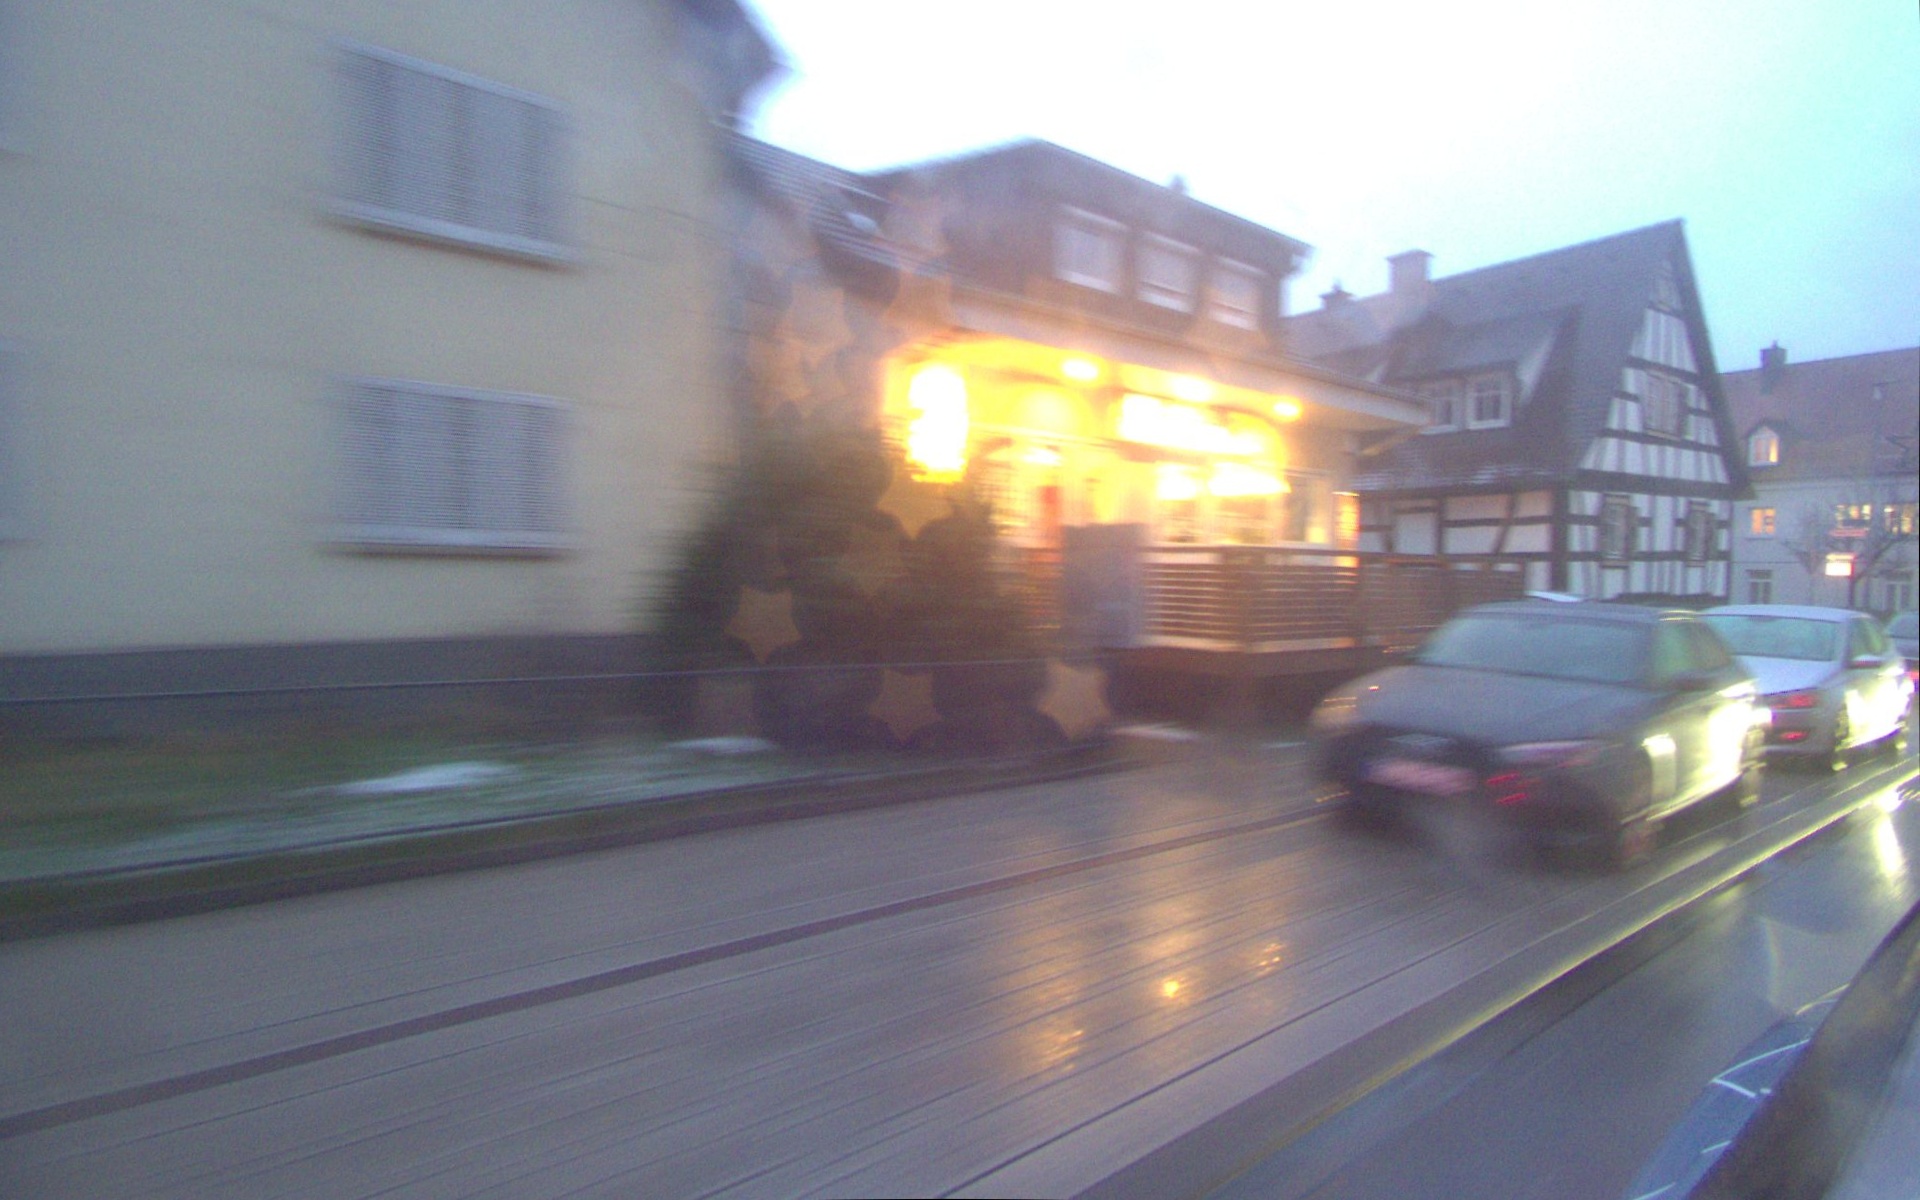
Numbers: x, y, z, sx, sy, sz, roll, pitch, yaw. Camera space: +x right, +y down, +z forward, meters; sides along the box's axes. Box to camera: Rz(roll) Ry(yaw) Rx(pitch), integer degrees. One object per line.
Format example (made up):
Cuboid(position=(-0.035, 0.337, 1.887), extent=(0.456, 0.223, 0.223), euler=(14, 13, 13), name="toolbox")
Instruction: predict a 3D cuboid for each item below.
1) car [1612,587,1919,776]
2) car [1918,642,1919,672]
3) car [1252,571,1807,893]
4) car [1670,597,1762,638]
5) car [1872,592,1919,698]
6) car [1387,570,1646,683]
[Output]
Cuboid(position=(8.164, 0.661, 10.046), extent=(3.729, 1.459, 1.632), euler=(0, 3, -38), name="car")
Cuboid(position=(20.888, 0.725, 20.414), extent=(3.928, 1.476, 1.737), euler=(0, 4, -39), name="car")
Cuboid(position=(4.106, 0.597, 6.929), extent=(4.527, 1.440, 1.827), euler=(0, 4, -41), name="car")
Cuboid(position=(31.000, 0.668, 41.648), extent=(1.773, 1.486, 4.197), euler=(3, 2, 20), name="car")
Cuboid(position=(16.163, 0.702, 16.186), extent=(4.313, 1.545, 1.768), euler=(0, 4, -41), name="car")
Cuboid(position=(9.063, 0.345, 16.666), extent=(1.657, 1.458, 3.299), euler=(0, 5, -40), name="car")
